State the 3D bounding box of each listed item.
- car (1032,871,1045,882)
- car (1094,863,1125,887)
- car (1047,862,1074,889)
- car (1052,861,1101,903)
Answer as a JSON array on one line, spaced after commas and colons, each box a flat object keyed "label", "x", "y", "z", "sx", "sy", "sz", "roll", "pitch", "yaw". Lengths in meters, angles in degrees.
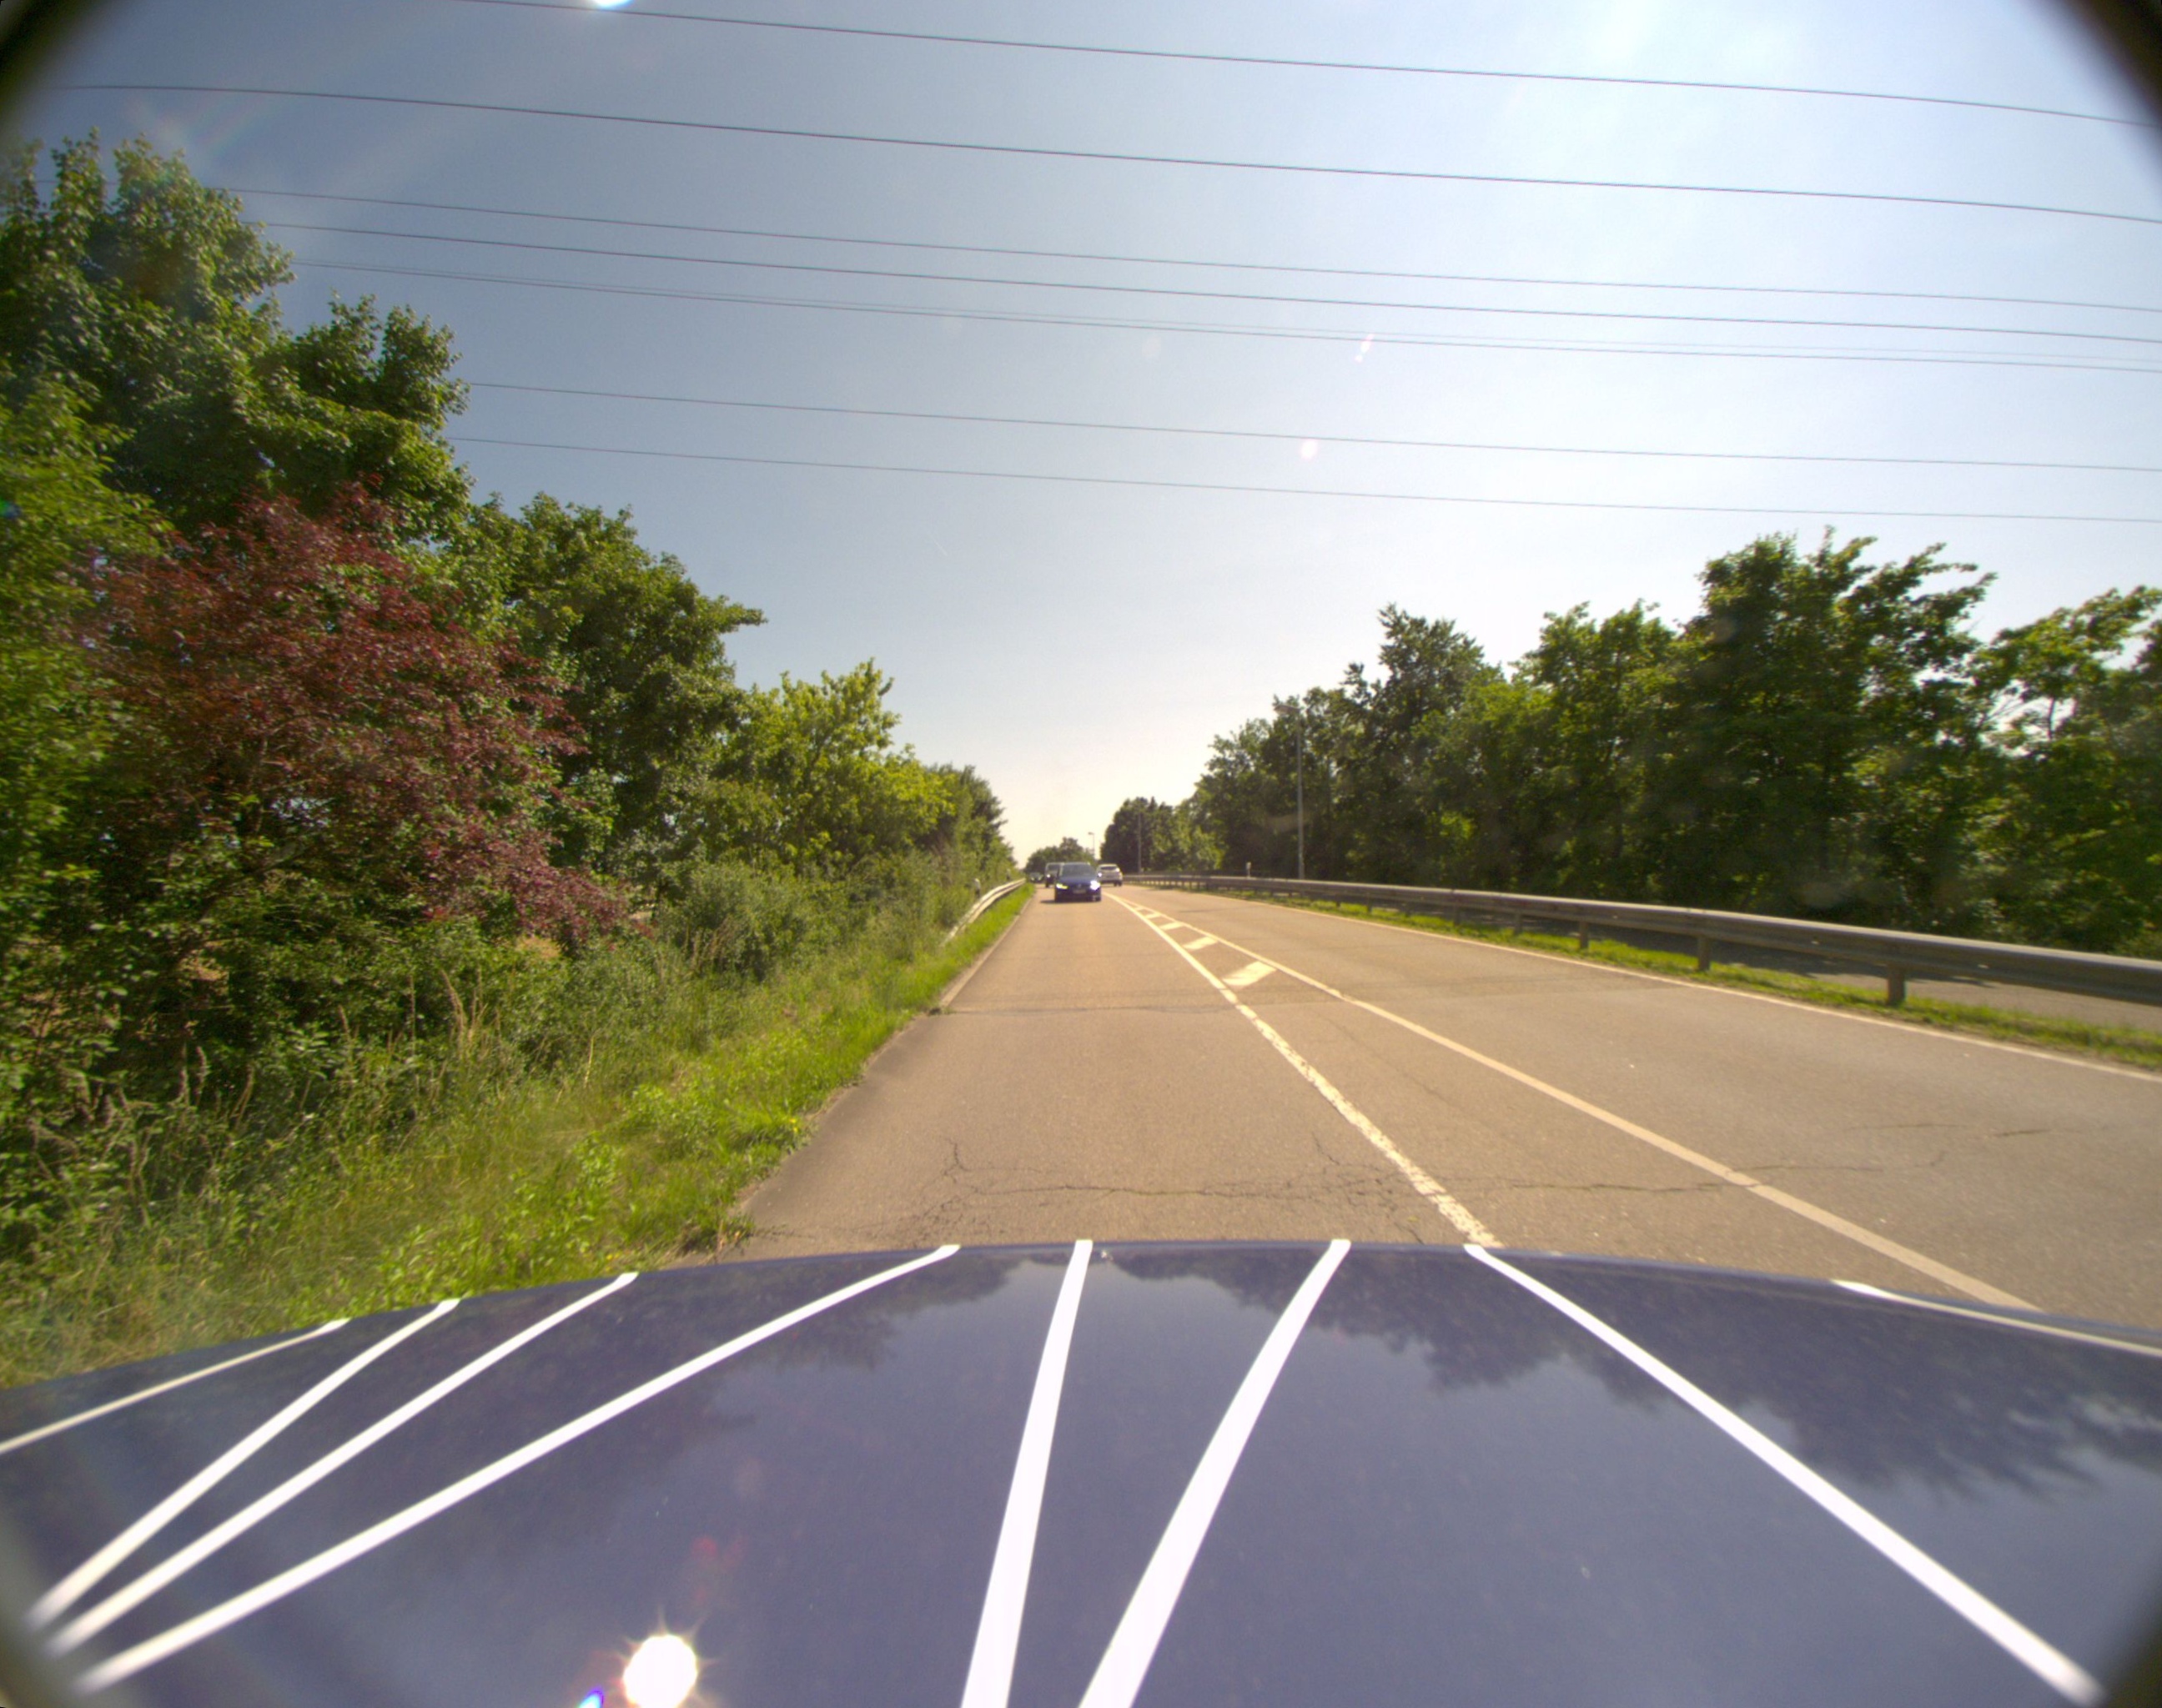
[{"label": "car", "x": -6.344, "y": 3.340, "z": 112.446, "sx": 1.765, "sy": 1.530, "sz": 3.683, "roll": -2, "pitch": 0, "yaw": -6}, {"label": "car", "x": 2.111, "y": 1.555, "z": 57.639, "sx": 1.829, "sy": 1.630, "sz": 4.139, "roll": -2, "pitch": 0, "yaw": -5}, {"label": "car", "x": -1.670, "y": 1.703, "z": 60.516, "sx": 1.765, "sy": 1.953, "sz": 4.261, "roll": -3, "pitch": -1, "yaw": -5}, {"label": "car", "x": -0.245, "y": 1.106, "z": 31.093, "sx": 1.765, "sy": 1.519, "sz": 4.423, "roll": -3, "pitch": -1, "yaw": -2}]
